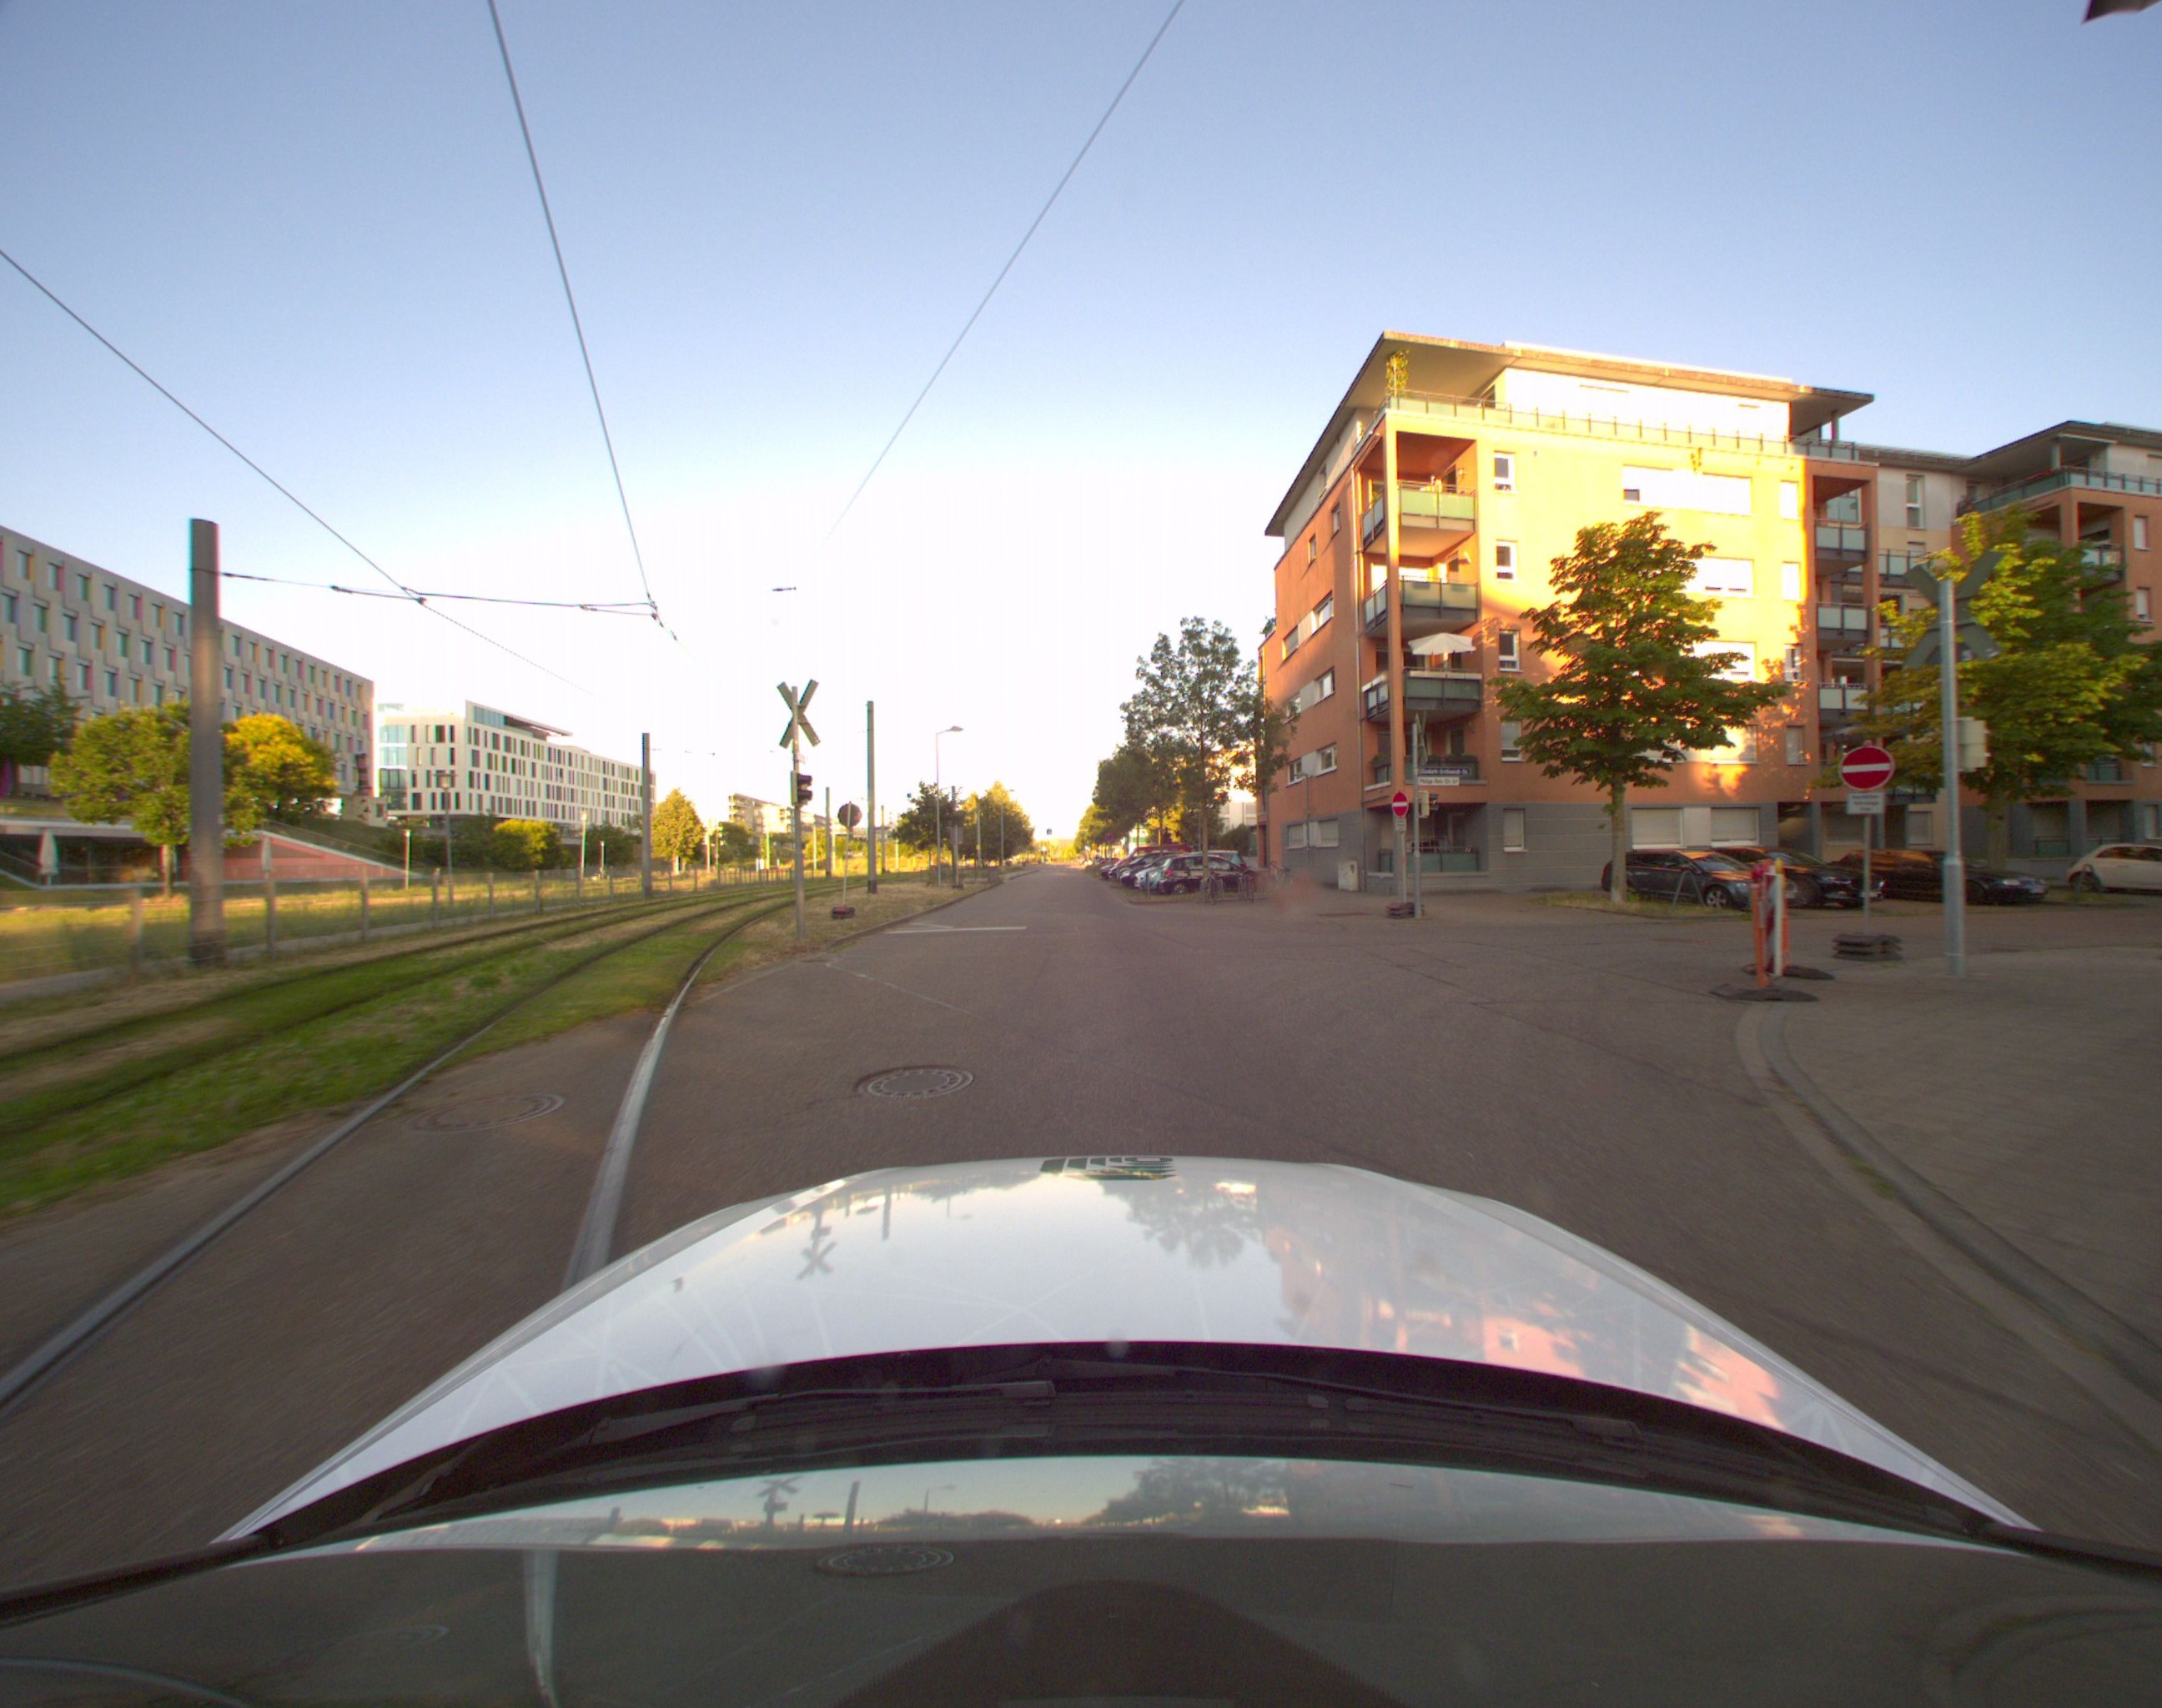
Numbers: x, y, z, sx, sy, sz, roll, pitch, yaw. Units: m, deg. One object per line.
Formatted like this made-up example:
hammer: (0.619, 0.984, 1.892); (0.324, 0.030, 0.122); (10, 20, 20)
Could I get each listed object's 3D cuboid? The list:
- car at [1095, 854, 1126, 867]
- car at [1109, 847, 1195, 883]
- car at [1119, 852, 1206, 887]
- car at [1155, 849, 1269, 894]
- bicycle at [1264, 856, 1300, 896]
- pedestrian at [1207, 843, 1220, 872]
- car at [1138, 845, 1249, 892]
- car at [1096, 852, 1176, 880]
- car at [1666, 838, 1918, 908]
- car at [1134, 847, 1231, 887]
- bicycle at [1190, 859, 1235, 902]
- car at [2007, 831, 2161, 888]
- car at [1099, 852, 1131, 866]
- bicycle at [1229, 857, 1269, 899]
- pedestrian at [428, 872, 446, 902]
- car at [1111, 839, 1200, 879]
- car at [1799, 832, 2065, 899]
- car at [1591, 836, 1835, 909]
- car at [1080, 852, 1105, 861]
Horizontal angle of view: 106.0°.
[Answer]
car: (3.695, 0.774, 103.292); (3.794, 1.508, 1.677); (-2, 0, -3)
car: (3.599, 0.571, 41.731); (4.204, 1.569, 1.792); (-3, 0, -1)
car: (3.671, 0.708, 37.087); (3.763, 1.496, 1.538); (-1, -2, -2)
car: (4.667, 0.605, 29.299); (3.744, 1.473, 1.610); (-1, 0, -6)
bicycle: (6.240, 0.664, 25.352); (0.528, 1.126, 1.961); (0, 2, -3)
pedestrian: (8.138, 0.191, 50.072); (0.667, 1.743, 0.699); (-1, 0, -2)
car: (4.338, 0.546, 31.742); (4.039, 1.569, 1.672); (-3, 0, -1)
car: (3.307, 0.690, 49.472); (4.657, 1.556, 1.810); (-1, 0, -2)
car: (18.348, 0.442, 21.404); (1.994, 1.594, 4.798); (-1, 0, -10)
car: (4.260, 0.550, 34.481); (3.865, 1.569, 1.619); (-1, 0, -1)
bicycle: (3.997, 0.787, 24.880); (0.717, 1.152, 1.891); (-3, 2, -11)
car: (31.307, 0.130, 24.103); (1.995, 1.594, 4.794); (-2, 0, -13)
car: (4.237, 0.617, 100.596); (3.794, 1.508, 1.677); (-2, 0, -3)
bicycle: (5.072, 0.702, 24.701); (0.677, 1.152, 1.926); (-3, 2, -3)
pedestrian: (-46.532, 2.379, 58.844); (0.614, 2.082, 0.790); (0, 0, -2)
car: (4.233, 0.268, 46.982); (4.904, 2.117, 2.016); (-1, 0, 0)
car: (23.192, 0.275, 22.540); (1.994, 1.594, 4.798); (-2, 0, -10)
car: (15.665, 0.412, 20.597); (1.994, 1.594, 4.798); (-1, 0, -10)
car: (2.157, 0.440, 150.981); (4.470, 1.596, 2.000); (-2, 0, 0)
